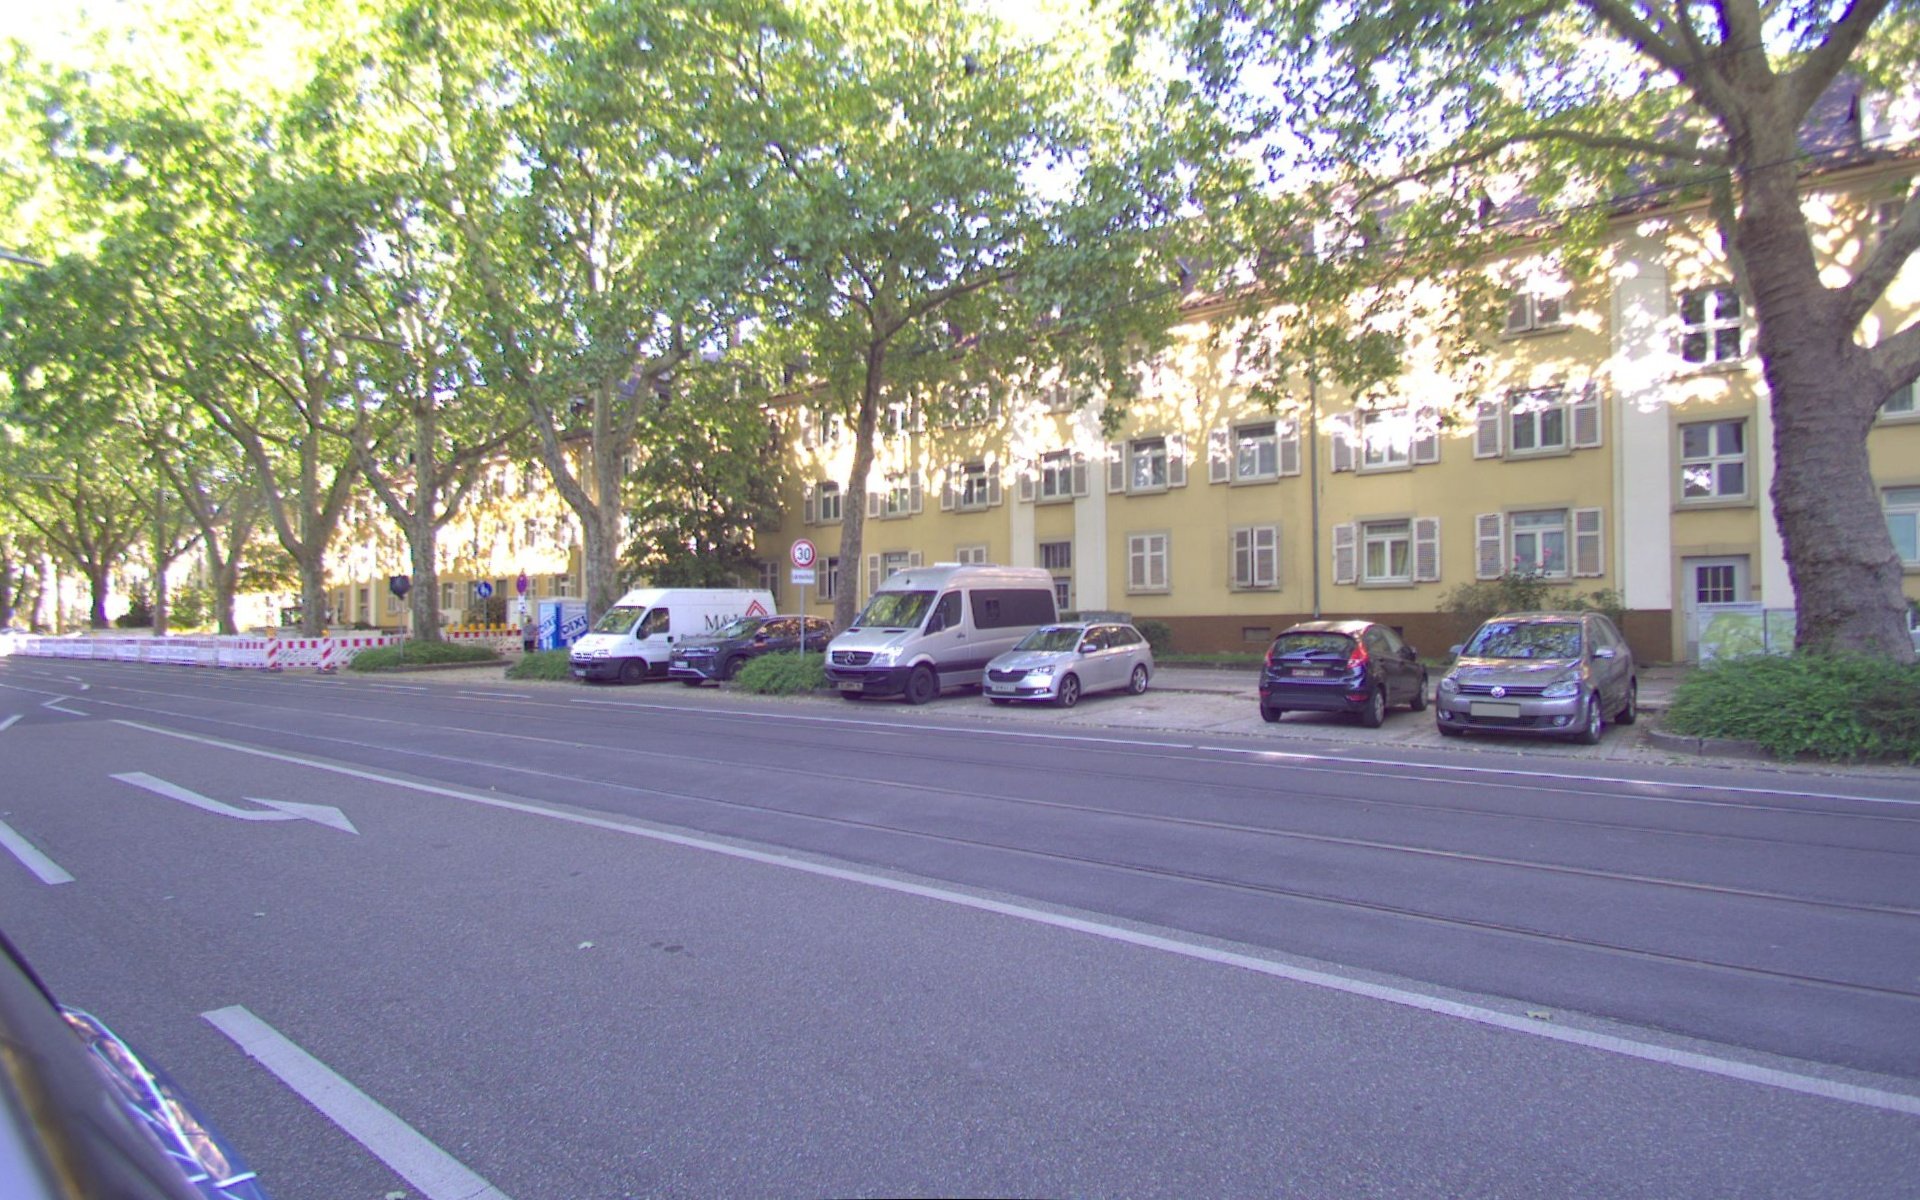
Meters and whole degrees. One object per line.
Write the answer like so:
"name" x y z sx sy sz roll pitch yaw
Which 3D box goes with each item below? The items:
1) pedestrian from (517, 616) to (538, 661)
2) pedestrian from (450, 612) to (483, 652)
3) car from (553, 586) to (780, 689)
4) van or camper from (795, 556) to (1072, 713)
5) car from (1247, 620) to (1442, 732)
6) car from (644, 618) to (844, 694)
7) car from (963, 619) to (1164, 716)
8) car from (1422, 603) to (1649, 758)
"pedestrian" -15.539 1.365 36.343 0.586 1.585 0.719 1 -2 -32
"pedestrian" -25.608 1.659 52.508 1.233 2.029 1.085 -2 -2 36
"car" -7.447 0.942 26.288 2.023 2.394 5.543 -2 -2 38
"van or camper" -0.318 0.608 20.492 2.227 2.697 6.052 -2 -1 38
"car" 5.903 1.045 15.329 1.740 1.440 3.528 -2 -1 39
"car" -5.093 1.269 24.369 1.967 1.643 4.520 -2 -2 38
"car" 2.034 1.154 18.907 1.729 1.481 4.102 0 1 40
"car" 7.734 0.925 13.416 1.814 1.617 4.145 -2 0 41
